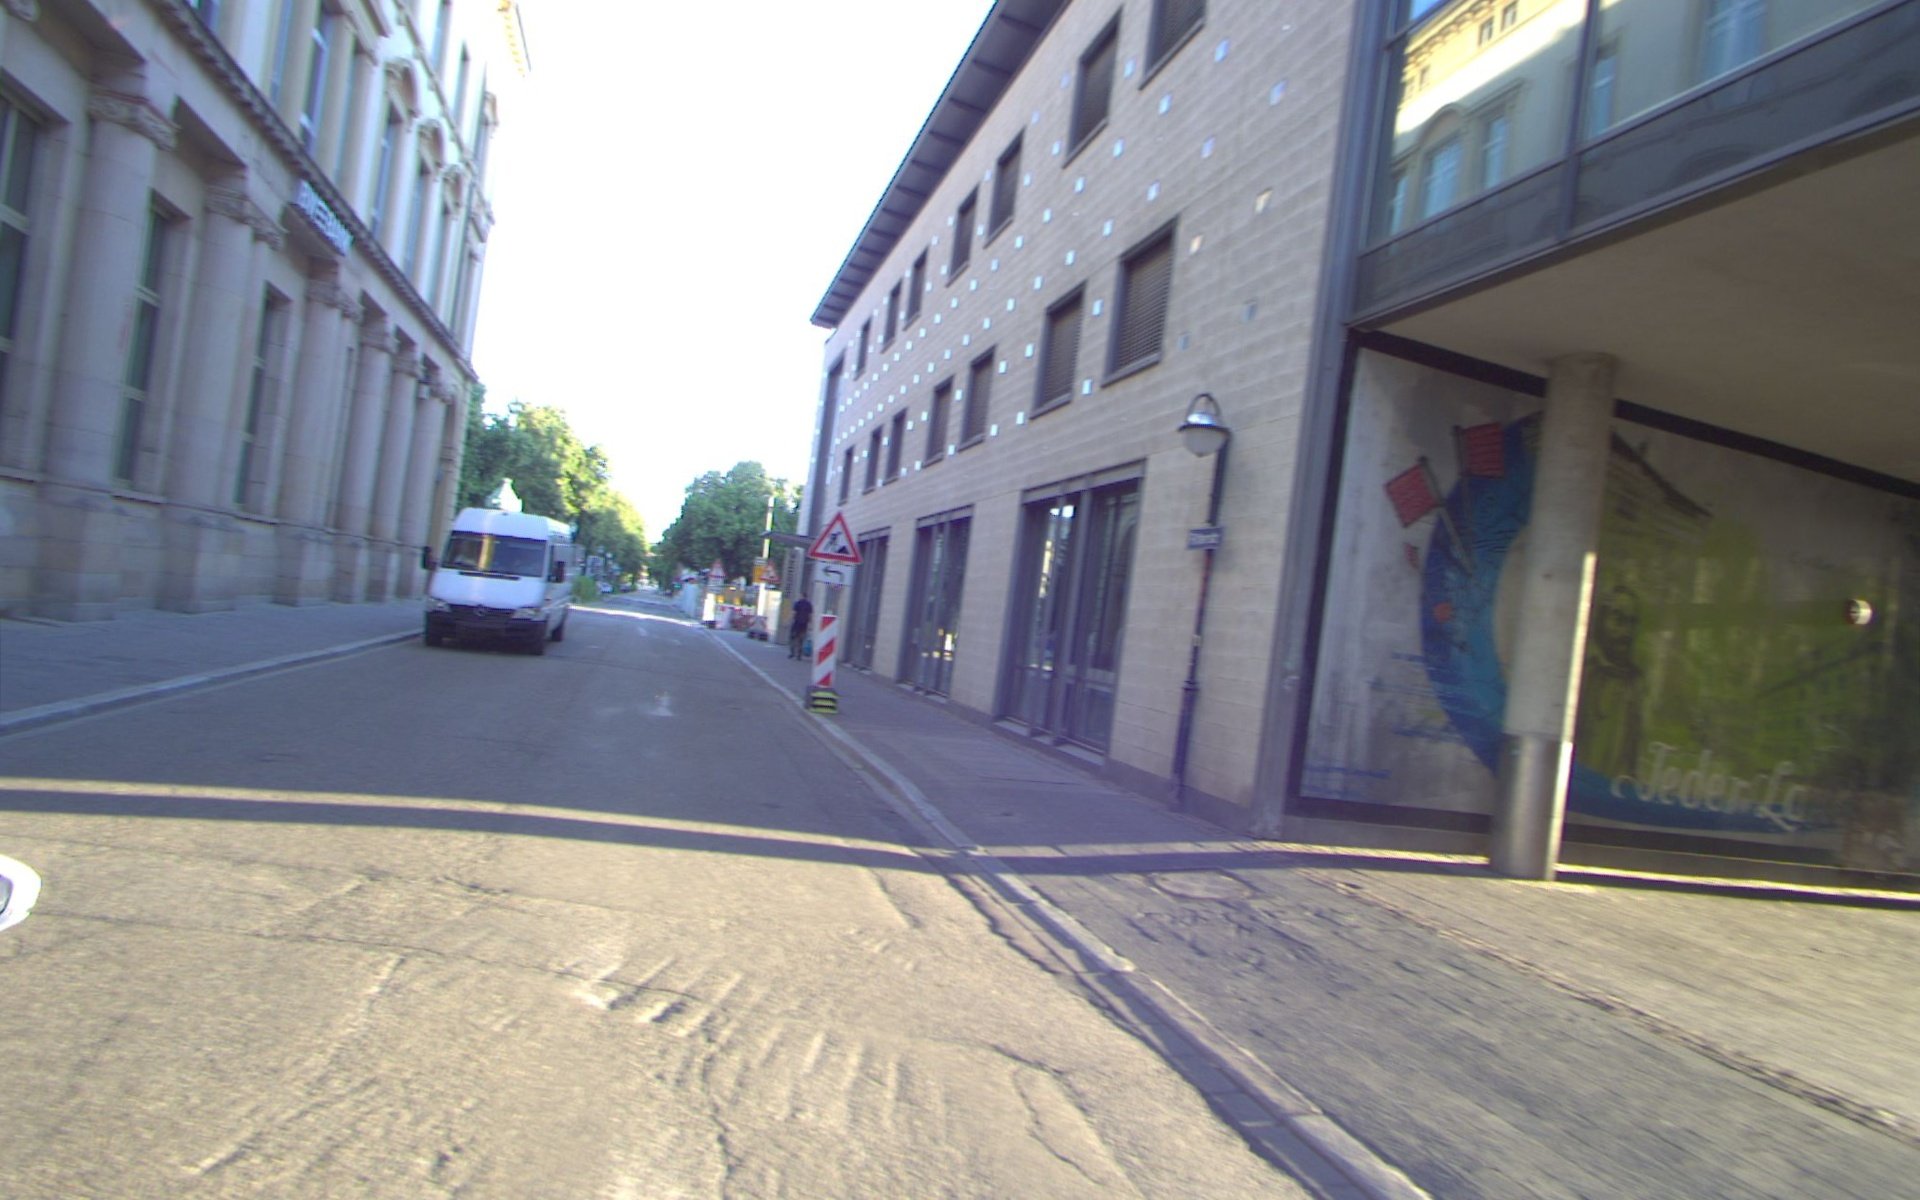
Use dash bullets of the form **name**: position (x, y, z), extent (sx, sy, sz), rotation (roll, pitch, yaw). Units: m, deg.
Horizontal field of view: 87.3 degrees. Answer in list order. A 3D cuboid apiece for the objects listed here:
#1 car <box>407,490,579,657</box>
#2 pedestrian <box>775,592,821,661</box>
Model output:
- **car**: position (-8.698, -0.450, 19.371), extent (1.971, 2.544, 6.447), rotation (4, 0, -17)
- **pedestrian**: position (-4.340, 0.711, 26.929), extent (0.912, 1.723, 0.865), rotation (7, 0, -18)
